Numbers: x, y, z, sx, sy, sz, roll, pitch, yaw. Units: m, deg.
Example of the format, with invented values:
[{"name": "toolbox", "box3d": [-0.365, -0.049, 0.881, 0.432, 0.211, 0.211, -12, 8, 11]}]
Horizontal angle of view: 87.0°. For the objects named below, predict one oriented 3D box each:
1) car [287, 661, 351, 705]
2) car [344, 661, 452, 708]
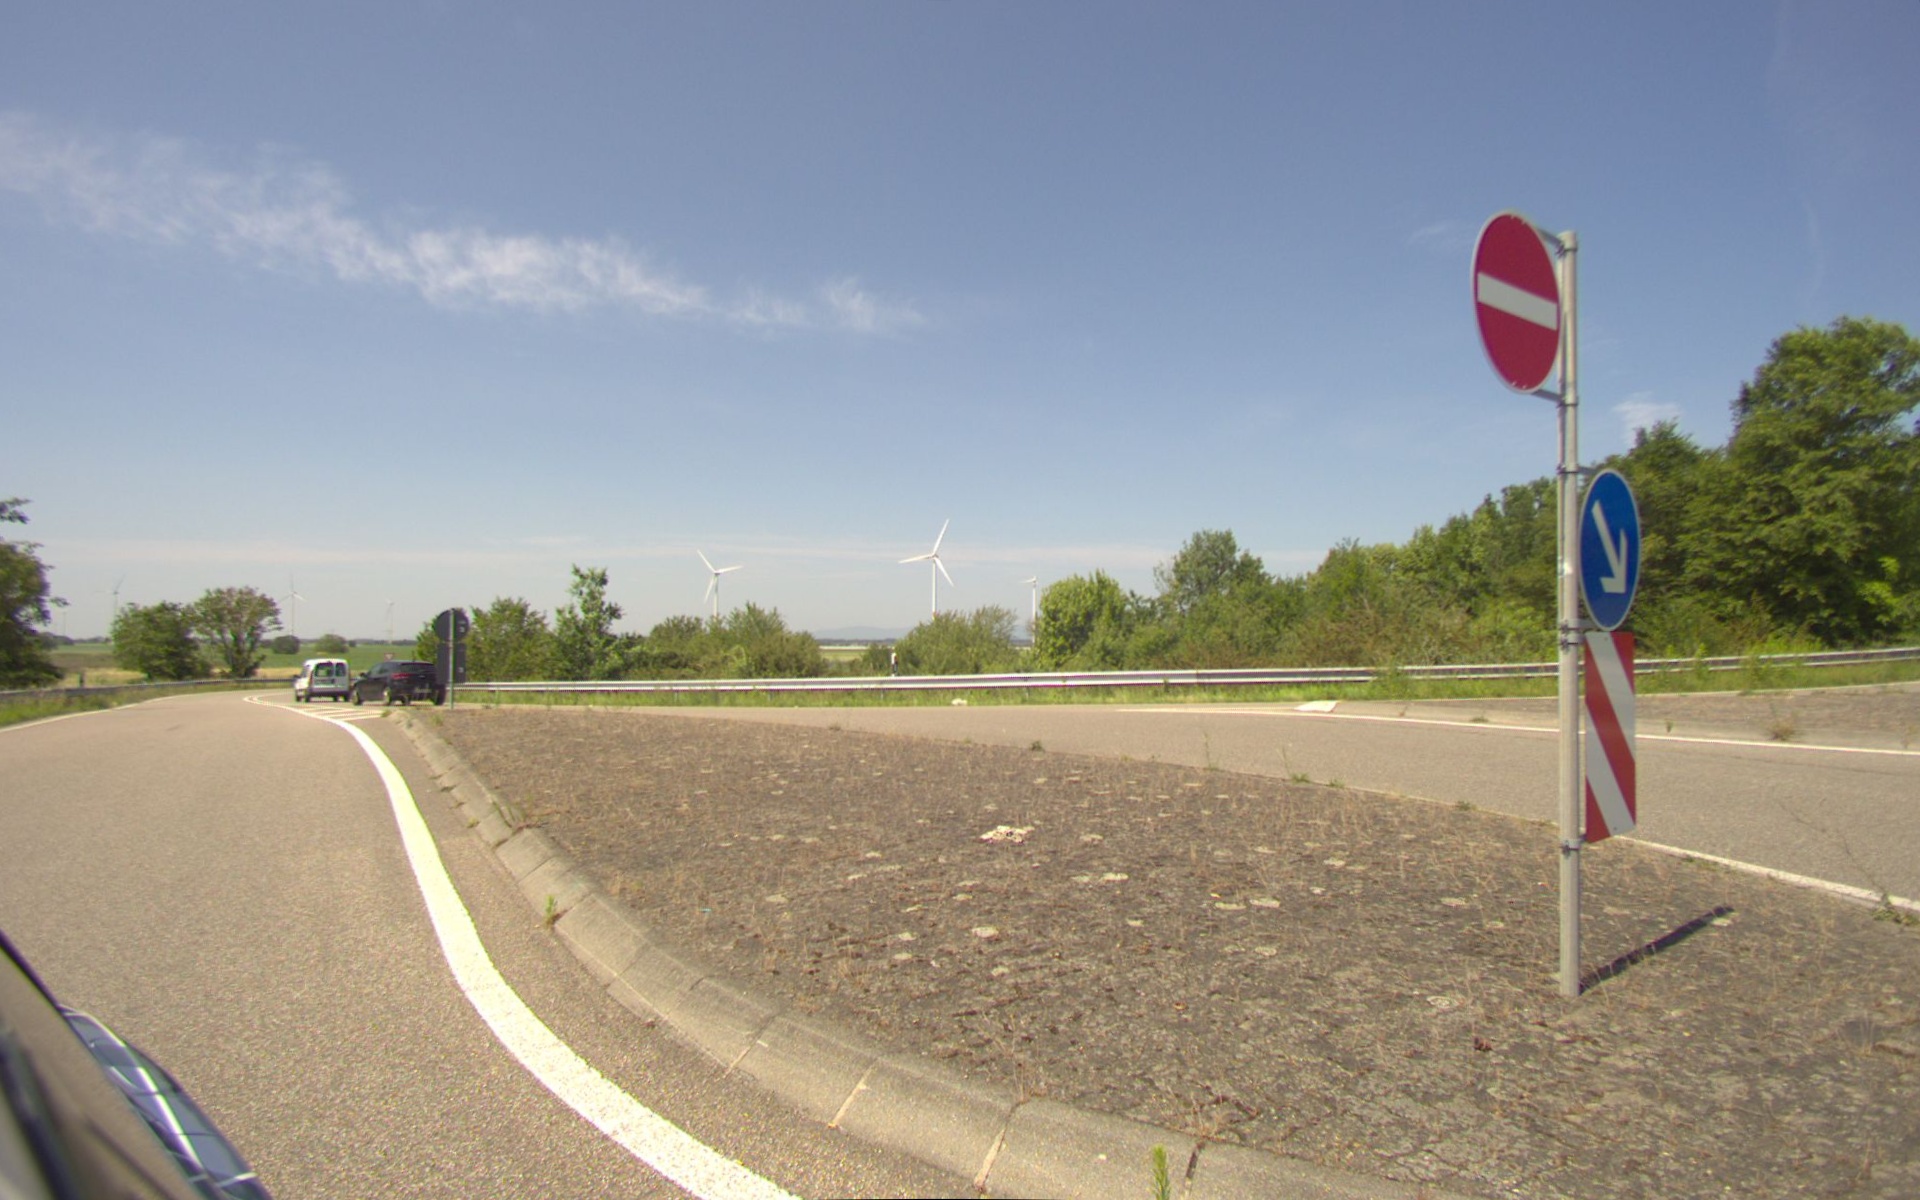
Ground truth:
[{"name": "car", "box3d": [-27.214, 3.523, 42.938, 1.715, 1.775, 4.089, 2, -6, -40]}, {"name": "car", "box3d": [-18.223, 2.762, 32.757, 3.882, 1.406, 1.691, -5, -7, 39]}]
